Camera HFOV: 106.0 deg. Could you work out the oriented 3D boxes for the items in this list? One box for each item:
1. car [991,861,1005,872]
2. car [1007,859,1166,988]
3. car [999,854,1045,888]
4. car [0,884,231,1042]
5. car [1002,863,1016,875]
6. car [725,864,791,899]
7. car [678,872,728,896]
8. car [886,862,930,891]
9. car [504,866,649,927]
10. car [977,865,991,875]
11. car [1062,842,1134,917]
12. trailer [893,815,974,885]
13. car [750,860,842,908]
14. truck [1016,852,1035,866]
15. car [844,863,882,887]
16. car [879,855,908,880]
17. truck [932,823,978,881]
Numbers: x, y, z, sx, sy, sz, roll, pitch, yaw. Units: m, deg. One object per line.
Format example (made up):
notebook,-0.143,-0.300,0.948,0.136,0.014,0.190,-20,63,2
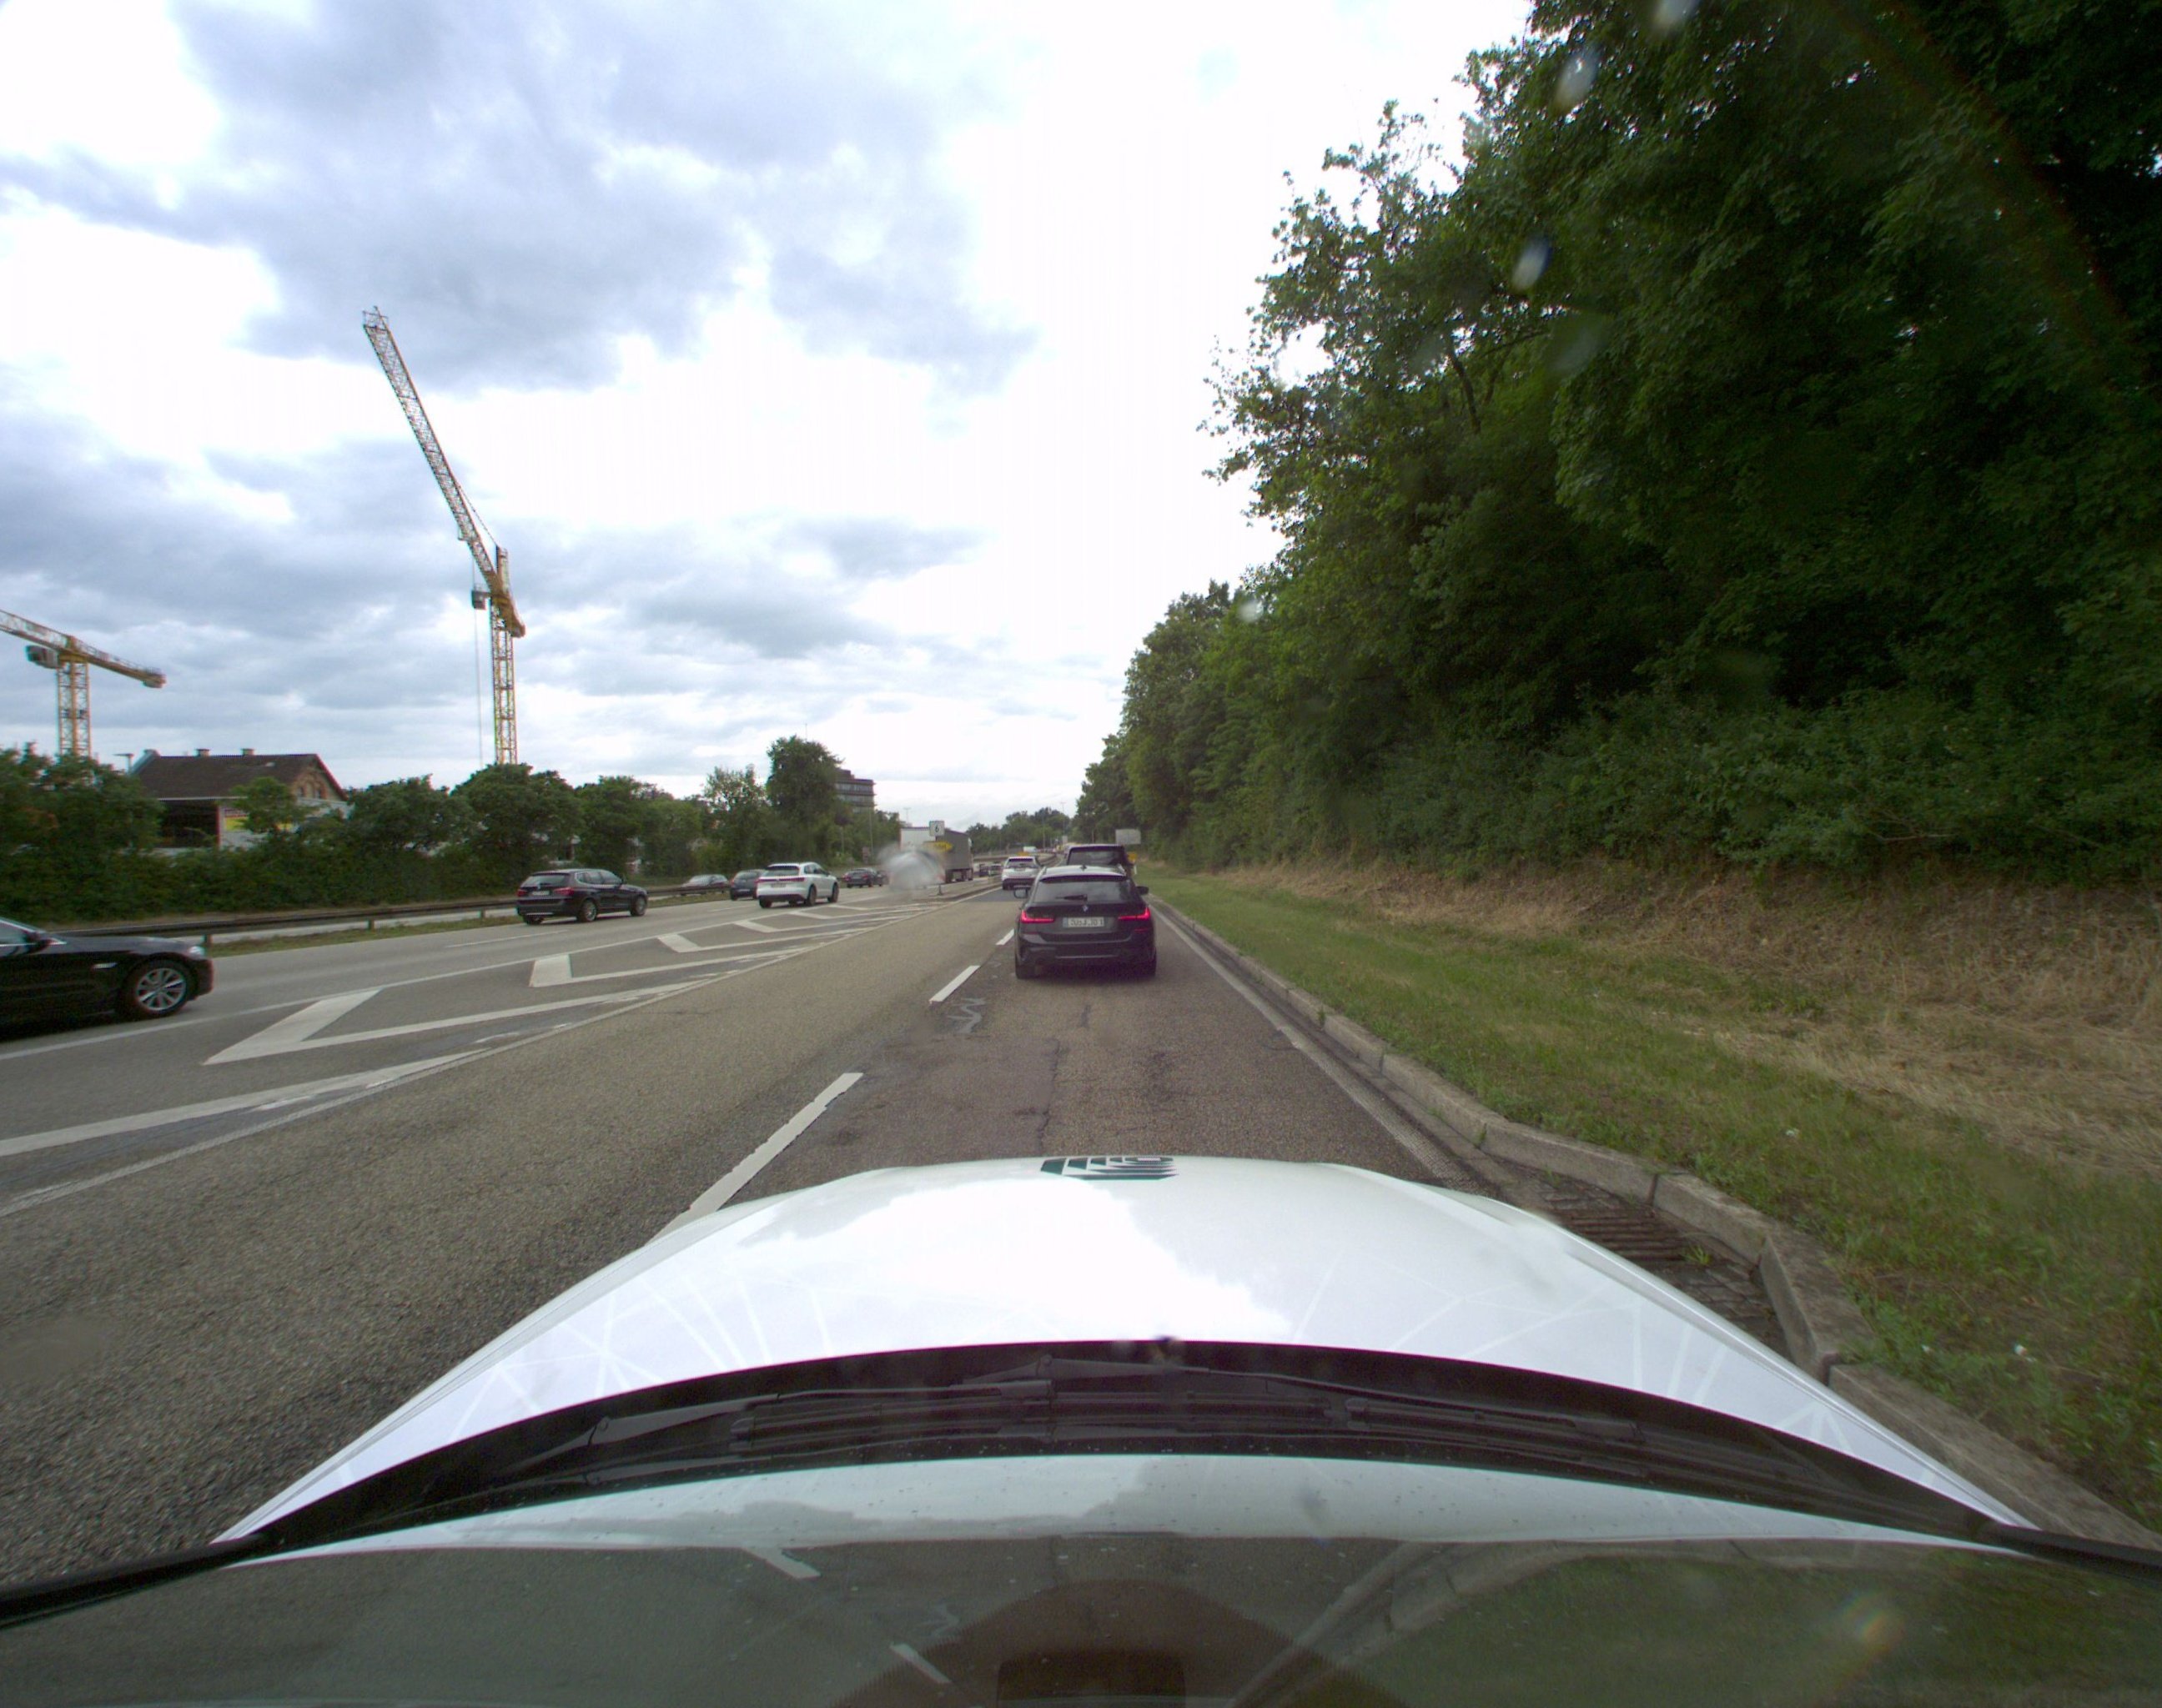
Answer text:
car,-10.336,1.548,101.592,1.372,1.398,3.063,-2,0,2
car,0.050,0.833,11.600,1.841,1.467,3.998,-1,0,-1
car,-2.996,0.846,41.975,1.923,1.596,3.879,-2,0,2
car,-11.363,1.113,7.637,1.705,1.457,4.670,-1,0,3
car,-9.933,2.043,112.480,1.443,1.490,3.063,-2,0,2
car,-16.036,1.336,40.602,1.682,1.608,4.007,-1,0,0
car,-26.999,2.110,58.251,1.682,1.608,4.007,-1,0,0
car,-10.055,1.256,47.513,1.763,1.549,3.492,-2,0,0
car,-15.847,1.263,25.886,1.884,1.681,4.305,-2,0,0
car,-14.552,2.400,121.679,1.587,1.432,3.063,-2,0,2
car,0.473,0.652,22.793,1.790,1.872,4.001,-2,0,1
trailer,-10.985,-0.188,62.595,3.121,4.725,14.563,-1,-1,2
car,-11.105,1.113,32.057,1.939,1.692,4.507,-2,0,1
truck,-11.385,1.022,167.395,3.263,2.509,7.660,-2,0,0
car,-15.677,1.502,58.731,1.682,1.632,3.733,-1,0,0
car,-16.055,1.115,69.916,1.438,2.044,3.682,-2,0,2
truck,-10.738,-0.148,69.680,3.072,4.698,4.233,-1,-1,2
